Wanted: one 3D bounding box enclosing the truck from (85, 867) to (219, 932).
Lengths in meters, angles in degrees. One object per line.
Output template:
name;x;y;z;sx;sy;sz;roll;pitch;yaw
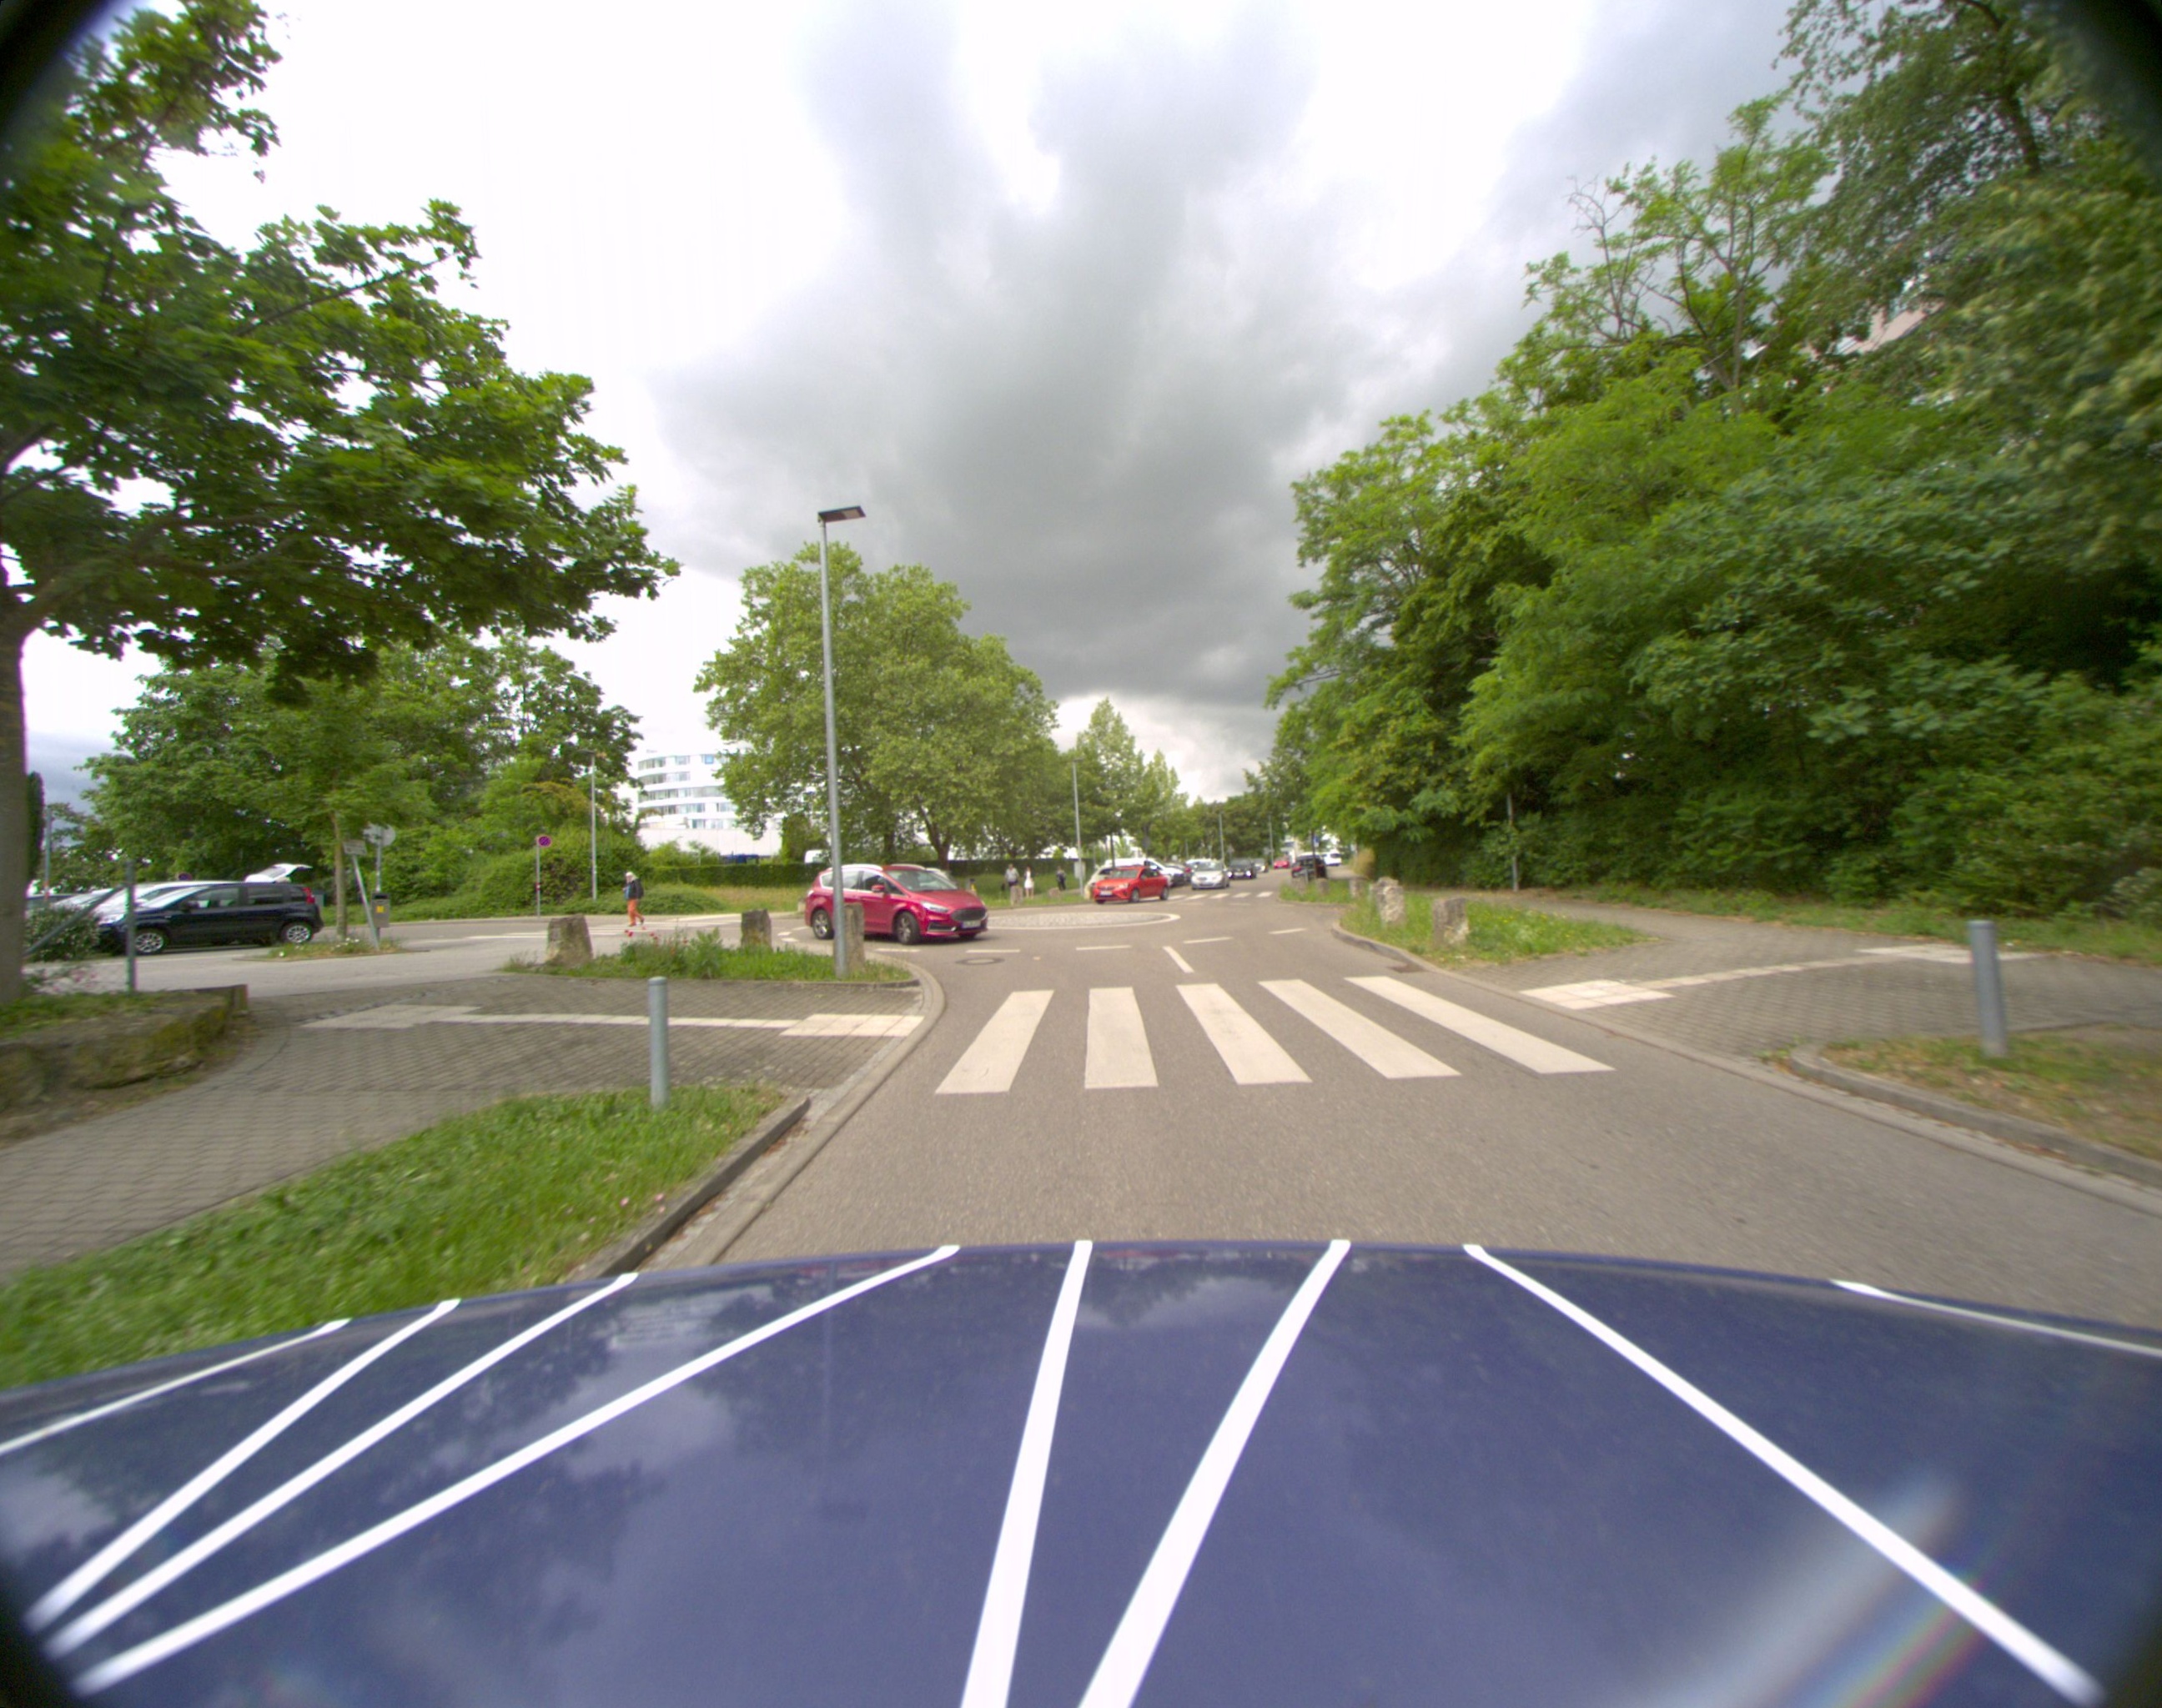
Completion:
truck;-42.610;2.086;34.842;5.796;2.591;2.071;-4;-1;21

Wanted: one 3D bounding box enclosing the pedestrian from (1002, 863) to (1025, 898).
pedestrian;-3.289;1.282;37.196;0.870;1.647;0.594;-4;-1;17

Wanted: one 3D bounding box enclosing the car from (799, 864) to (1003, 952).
car;-4.031;1.107;16.624;4.523;1.635;1.984;-2;-1;40

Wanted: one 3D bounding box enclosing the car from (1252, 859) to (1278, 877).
car;17.991;1.362;74.199;1.756;1.606;4.007;-4;-1;23

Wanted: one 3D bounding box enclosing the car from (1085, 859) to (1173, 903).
car;2.013;1.056;30.726;1.756;1.506;4.008;-4;-2;32

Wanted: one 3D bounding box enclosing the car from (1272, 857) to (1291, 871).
car;25.138;1.186;95.166;1.756;1.606;4.007;-4;-1;23

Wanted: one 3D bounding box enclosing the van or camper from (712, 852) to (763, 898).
van or camper;-22.881;1.432;50.545;2.118;2.781;4.470;-3;-2;-35

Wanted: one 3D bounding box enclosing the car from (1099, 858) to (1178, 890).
car;3.331;1.140;43.927;4.156;1.592;1.741;-4;-1;17

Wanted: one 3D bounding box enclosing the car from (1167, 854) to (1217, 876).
car;9.017;0.899;61.860;3.674;1.637;1.854;-2;-1;20

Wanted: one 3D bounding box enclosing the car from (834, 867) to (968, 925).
car;-5.677;1.311;24.365;4.009;1.608;1.721;-2;0;-9

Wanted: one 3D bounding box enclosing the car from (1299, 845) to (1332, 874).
car;15.844;0.358;51.281;1.810;1.654;4.443;-7;-2;18

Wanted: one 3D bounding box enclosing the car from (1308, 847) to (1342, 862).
car;29.133;0.081;90.899;1.674;1.630;3.994;-3;-2;-22

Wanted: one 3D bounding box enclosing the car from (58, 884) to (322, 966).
car;-19.855;1.500;17.119;1.501;1.467;3.532;-1;1;25

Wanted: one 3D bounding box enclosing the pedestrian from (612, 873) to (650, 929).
pedestrian;-13.589;1.403;22.964;0.841;1.655;0.613;-2;0;-22

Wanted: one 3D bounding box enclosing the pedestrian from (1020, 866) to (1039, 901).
pedestrian;-2.500;1.442;36.975;0.689;1.647;0.601;-4;-1;17

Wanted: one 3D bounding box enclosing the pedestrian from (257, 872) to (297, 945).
pedestrian;-20.376;1.375;19.264;0.582;1.801;0.485;-4;-1;25

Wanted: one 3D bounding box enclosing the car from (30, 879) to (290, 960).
car;-22.540;1.519;18.790;1.569;1.649;3.784;-1;0;25

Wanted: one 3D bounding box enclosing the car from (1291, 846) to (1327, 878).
car;13.764;0.445;45.719;1.802;1.606;4.483;-7;-1;18

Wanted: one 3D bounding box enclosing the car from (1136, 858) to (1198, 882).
car;5.806;1.094;51.408;3.829;1.511;1.914;-2;0;17

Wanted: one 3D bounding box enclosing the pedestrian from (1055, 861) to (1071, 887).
pedestrian;-1.072;1.197;45.444;0.677;1.510;0.707;-4;-1;16

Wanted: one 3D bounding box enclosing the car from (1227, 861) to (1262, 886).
car;12.237;1.428;56.755;1.756;1.606;4.007;-4;-1;23

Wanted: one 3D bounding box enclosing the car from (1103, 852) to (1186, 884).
car;3.918;0.860;46.316;4.781;1.821;1.844;-2;0;12

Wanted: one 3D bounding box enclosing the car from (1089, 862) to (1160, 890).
car;2.374;1.188;41.563;3.516;1.452;1.741;-1;0;18

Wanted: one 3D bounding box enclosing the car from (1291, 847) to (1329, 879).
car;12.236;0.480;40.426;1.692;1.456;4.462;-7;-2;18

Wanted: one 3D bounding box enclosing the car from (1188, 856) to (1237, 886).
car;7.502;0.960;43.014;1.756;1.506;4.007;-4;-1;23

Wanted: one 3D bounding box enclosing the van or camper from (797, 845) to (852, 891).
van or camper;-17.072;0.976;50.439;2.118;2.781;4.470;-3;-2;-35
